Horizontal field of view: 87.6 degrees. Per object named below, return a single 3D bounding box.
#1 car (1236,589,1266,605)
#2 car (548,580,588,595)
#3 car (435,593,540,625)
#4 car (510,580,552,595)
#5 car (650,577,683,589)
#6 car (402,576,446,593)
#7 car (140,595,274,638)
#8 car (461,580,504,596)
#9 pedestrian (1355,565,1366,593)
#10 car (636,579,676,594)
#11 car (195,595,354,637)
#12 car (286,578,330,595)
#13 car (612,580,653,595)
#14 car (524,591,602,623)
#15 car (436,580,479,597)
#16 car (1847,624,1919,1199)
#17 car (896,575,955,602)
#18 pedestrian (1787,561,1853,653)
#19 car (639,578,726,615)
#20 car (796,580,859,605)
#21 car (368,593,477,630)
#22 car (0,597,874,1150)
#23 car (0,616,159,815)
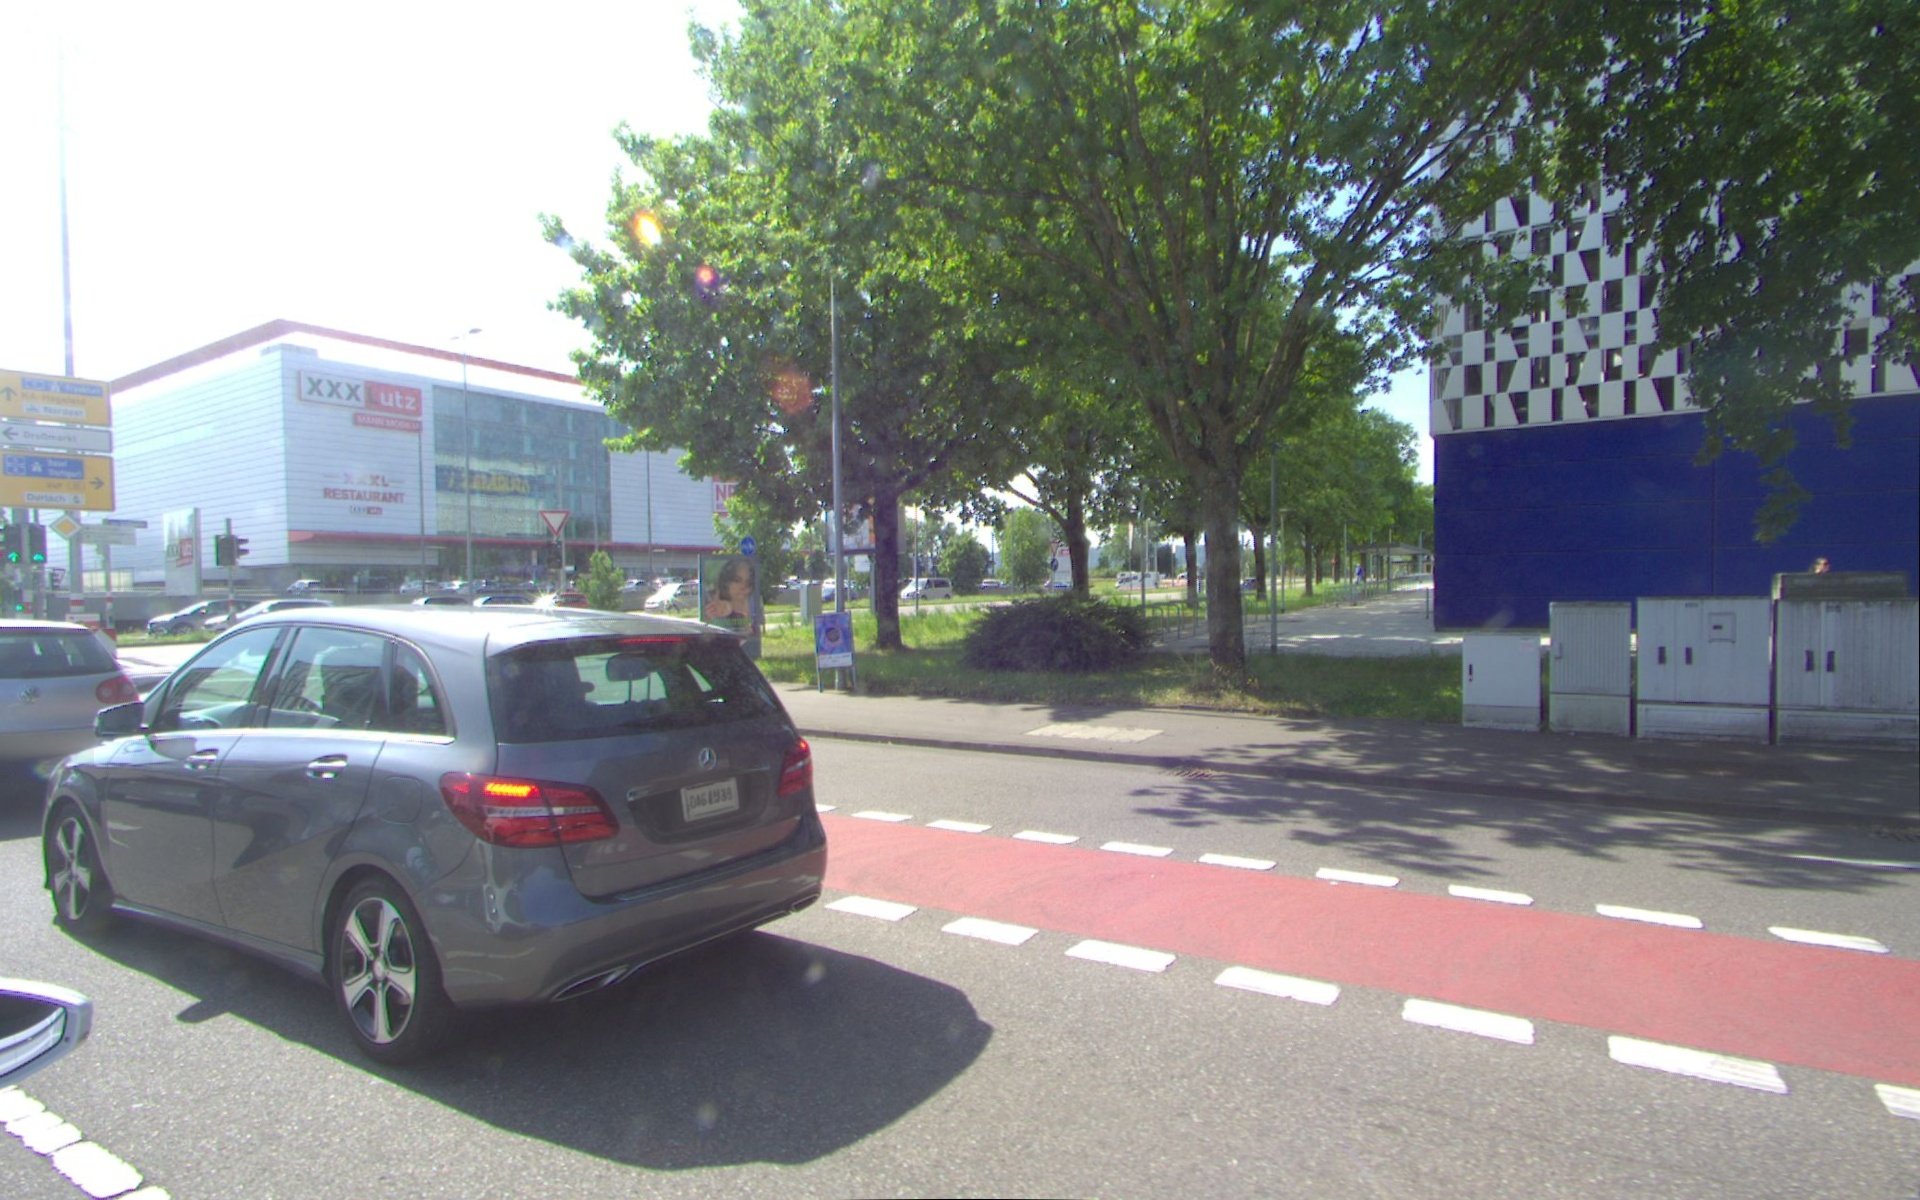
[{"bbox_3d":[27.948,-0.291,96.089,1.618,1.556,3.893,0,1,34],"label":"car"},{"bbox_3d":[-40.280,-1.294,102.952,4.142,1.439,1.799,0,1,35],"label":"car"},{"bbox_3d":[-21.546,0.393,45.802,1.701,1.360,4.032,-1,0,34],"label":"car"},{"bbox_3d":[-42.462,-1.262,99.110,4.143,1.439,1.895,0,1,35],"label":"car"},{"bbox_3d":[-35.211,-2.044,120.098,4.143,1.439,1.679,0,1,35],"label":"car"},{"bbox_3d":[-48.528,-1.365,90.596,3.950,1.439,1.795,0,1,32],"label":"car"},{"bbox_3d":[-29.821,0.622,39.752,1.785,1.579,3.871,0,1,36],"label":"car"},{"bbox_3d":[-45.434,-1.155,95.187,4.143,1.439,1.866,0,1,35],"label":"car"},{"bbox_3d":[29.124,-1.528,72.804,0.670,2.039,0.600,-1,-1,18],"label":"pedestrian"},{"bbox_3d":[-30.194,-1.291,99.479,3.955,1.439,1.734,0,1,35],"label":"car"},{"bbox_3d":[-26.667,0.589,39.113,1.933,1.444,4.701,-2,0,35],"label":"car"},{"bbox_3d":[-56.818,-1.192,87.249,4.143,1.439,1.765,0,1,35],"label":"car"},{"bbox_3d":[-31.937,-1.226,97.617,4.053,1.439,1.679,0,1,35],"label":"car"},{"bbox_3d":[-20.549,0.343,51.954,1.578,1.597,3.458,0,1,36],"label":"car"},{"bbox_3d":[-46.449,-1.058,92.511,4.143,1.439,1.826,0,1,35],"label":"car"},{"bbox_3d":[3.738,0.761,0.638,4.472,1.448,1.792,0,-1,31],"label":"car"},{"bbox_3d":[-2.628,-0.903,77.423,1.890,1.961,4.756,-2,0,37],"label":"car"},{"bbox_3d":[15.101,0.121,17.596,0.769,1.567,0.677,0,2,32],"label":"pedestrian"},{"bbox_3d":[-16.109,-0.230,58.380,1.937,2.002,4.658,-2,0,35],"label":"car"},{"bbox_3d":[-8.659,-0.502,65.743,1.662,1.642,4.101,0,1,37],"label":"car"},{"bbox_3d":[-24.836,0.524,46.386,1.883,1.529,4.015,-1,1,35],"label":"car"},{"bbox_3d":[-2.565,0.776,4.655,4.077,1.559,1.771,0,0,31],"label":"car"},{"bbox_3d":[-8.449,0.857,8.329,3.628,1.433,1.664,0,0,31],"label":"car"}]
